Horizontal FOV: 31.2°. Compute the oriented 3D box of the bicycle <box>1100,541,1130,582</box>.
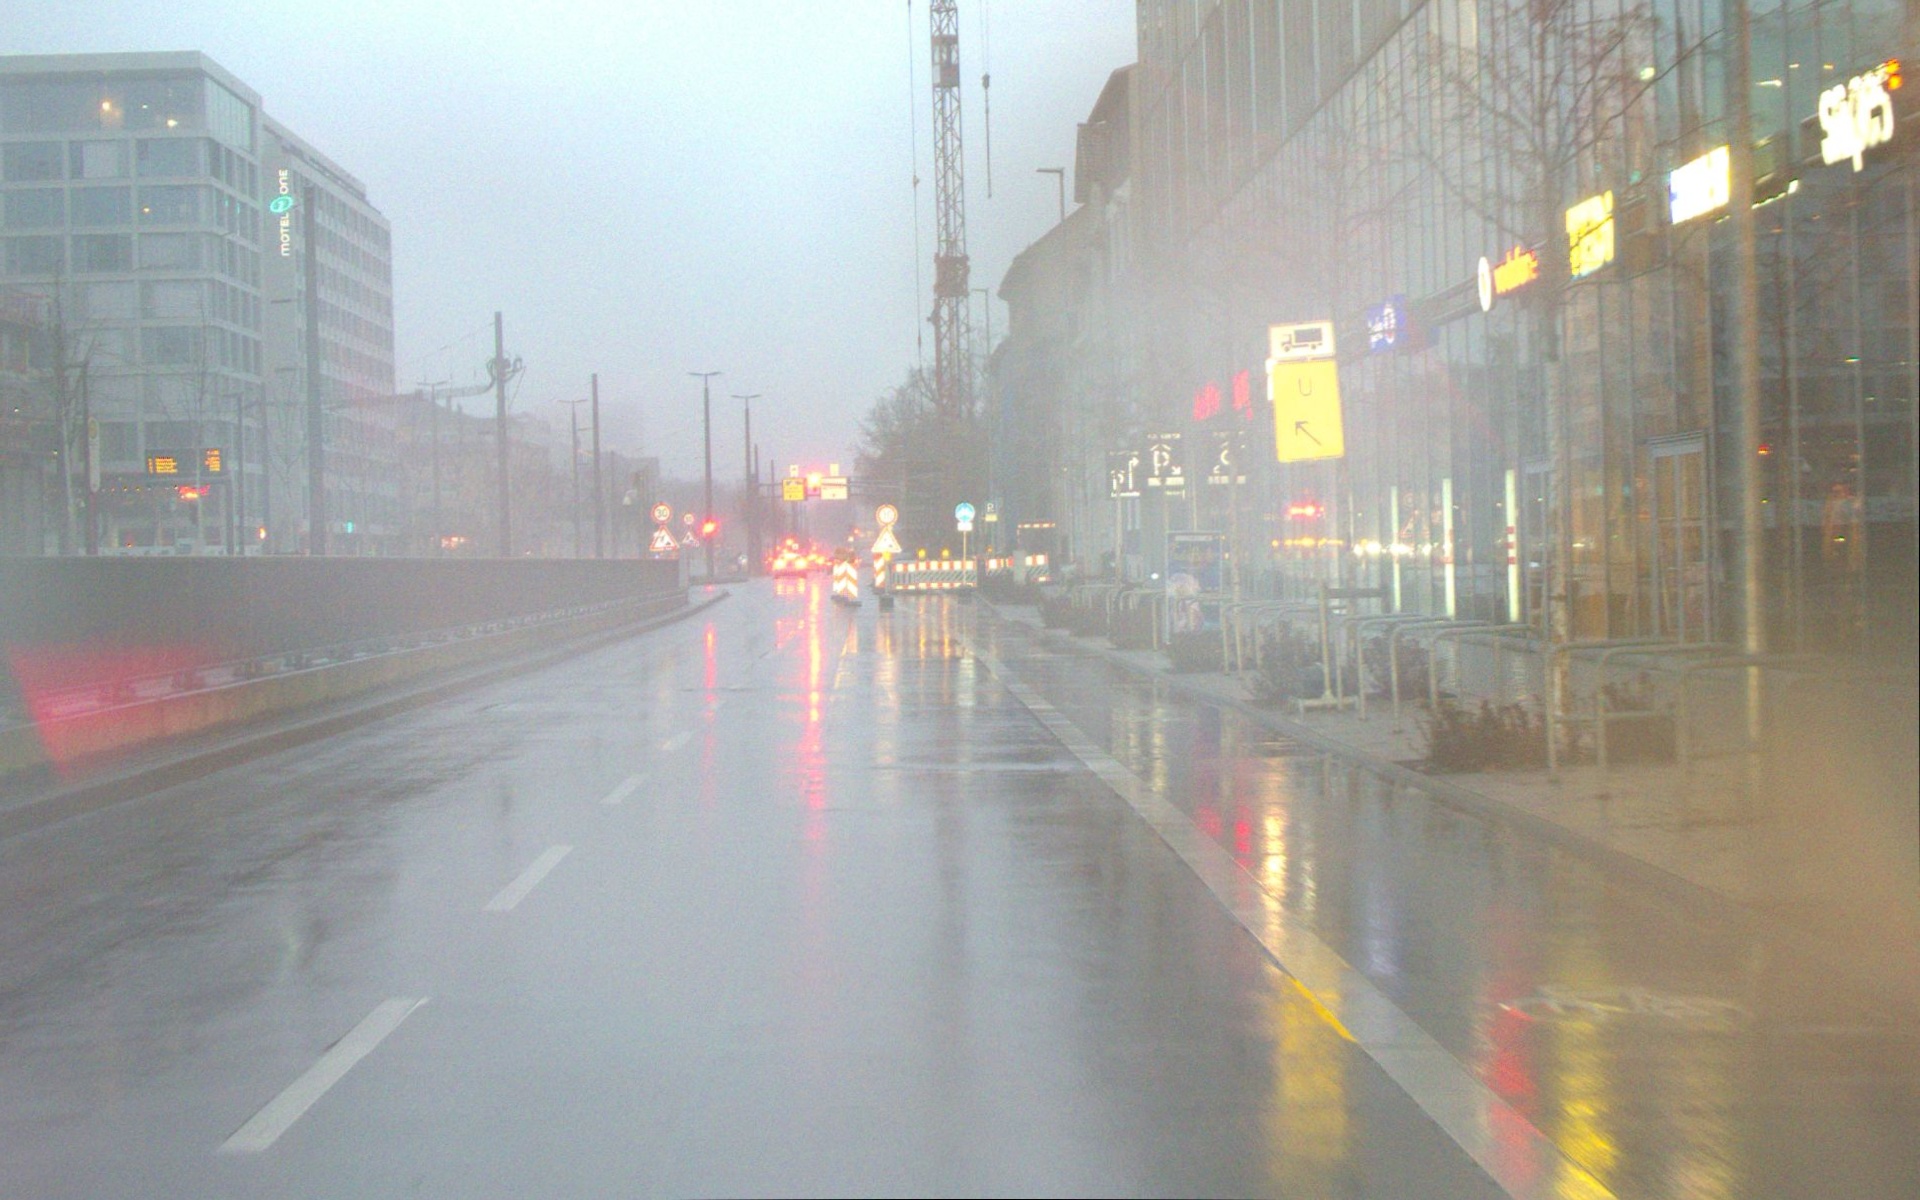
[{"bbox_3d":[4.770,-1.188,105.912,0.682,1.218,1.906,-4,1,-3],"label":"bicycle"}]

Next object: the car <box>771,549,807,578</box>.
[{"bbox_3d":[-9.677,-2.075,194.637,1.901,1.636,4.000,0,1,-1],"label":"car"}]

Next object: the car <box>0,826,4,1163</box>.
[{"bbox_3d":[-3.245,0.686,5.930,1.852,1.460,4.947,0,1,-1],"label":"car"}]
